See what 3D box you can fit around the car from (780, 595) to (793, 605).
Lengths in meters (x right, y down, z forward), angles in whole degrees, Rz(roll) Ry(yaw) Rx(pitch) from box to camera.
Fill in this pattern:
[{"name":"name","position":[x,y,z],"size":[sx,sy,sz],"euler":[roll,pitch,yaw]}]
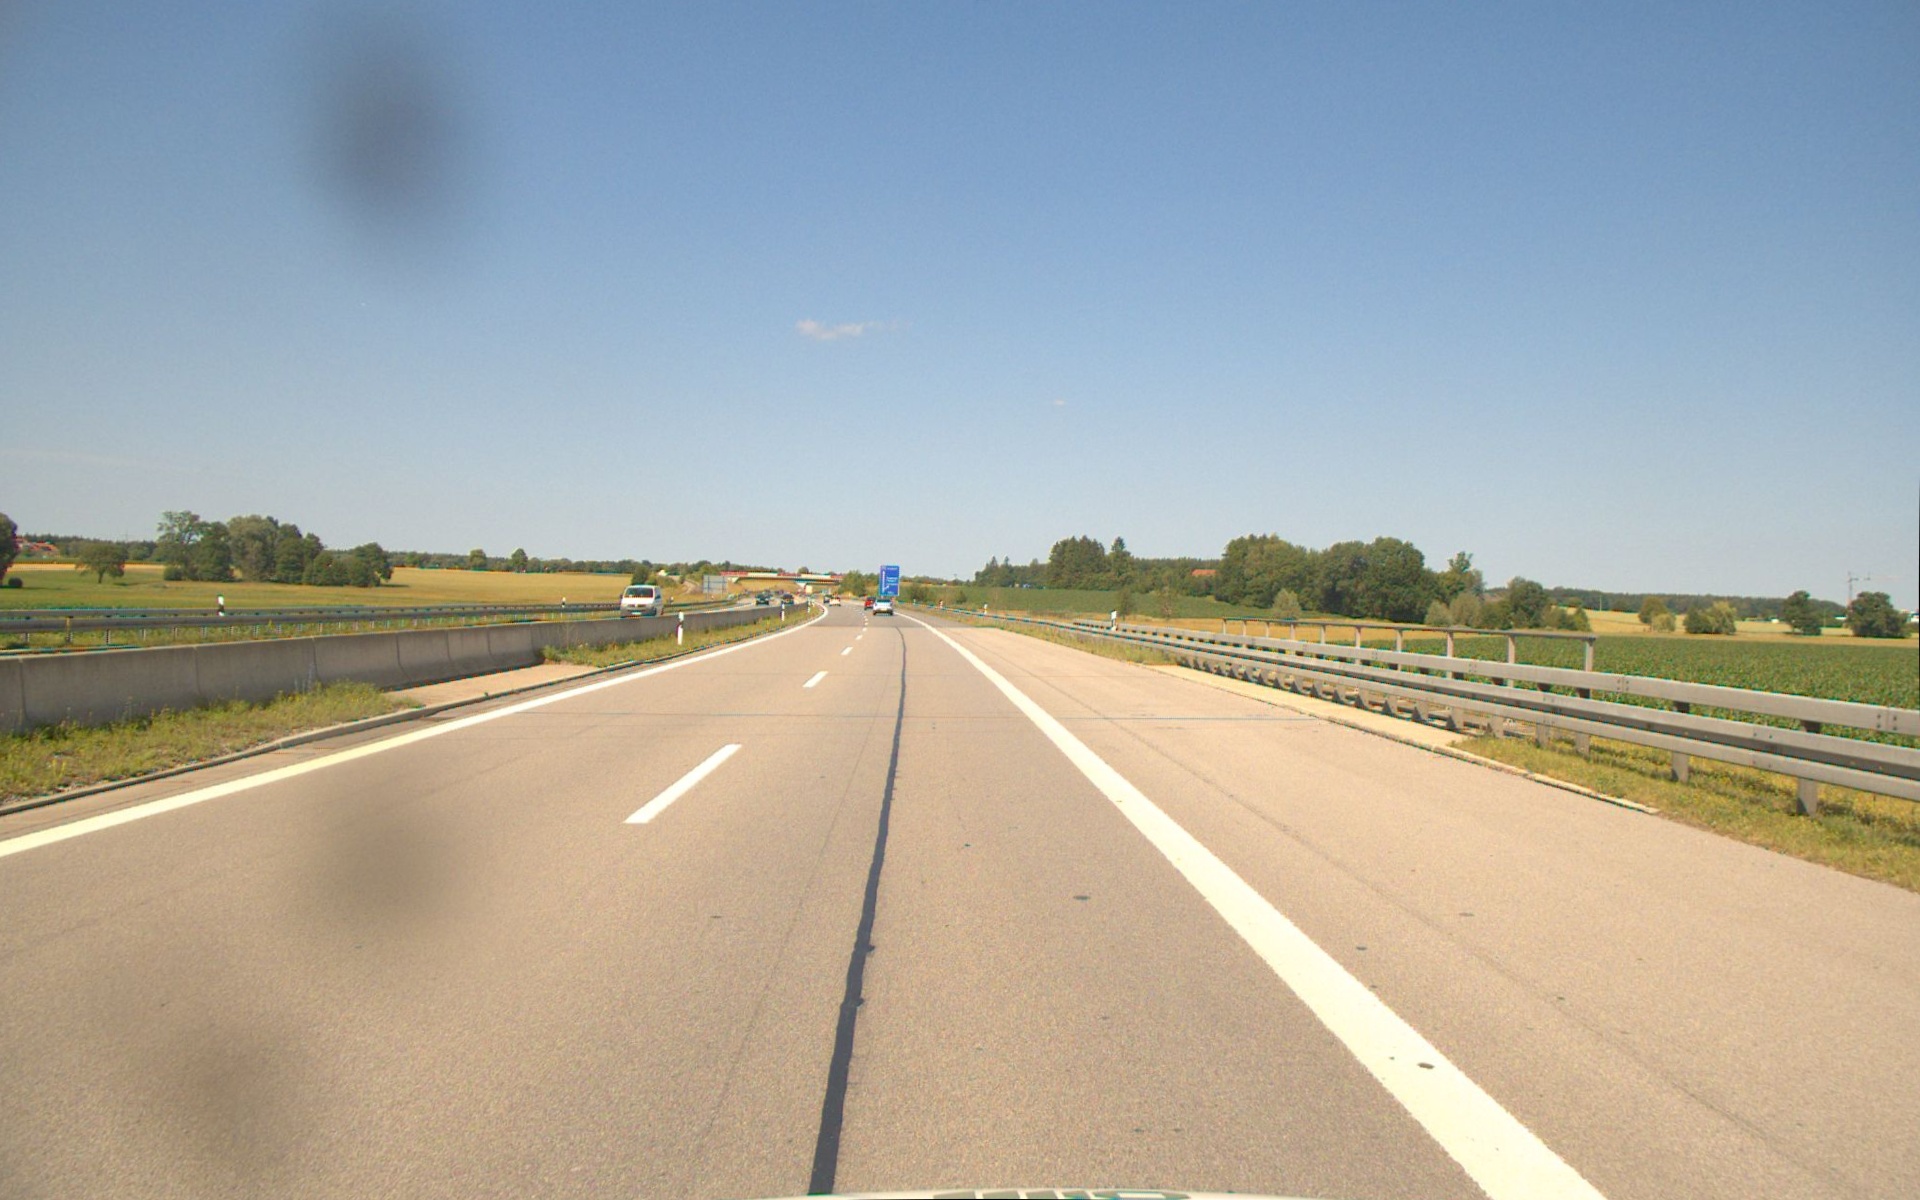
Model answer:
[{"name":"car","position":[-25.574,0.044,243.694],"size":[1.788,1.388,5.190],"euler":[0,0,-7]}]

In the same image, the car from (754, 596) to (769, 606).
[{"name":"car","position":[-28.082,0.099,233.857],"size":[1.789,1.388,4.653],"euler":[0,0,-9]}]

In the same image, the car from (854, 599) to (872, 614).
[{"name":"car","position":[-11.915,0.790,202.313],"size":[1.955,1.761,4.863],"euler":[1,0,-6]}]

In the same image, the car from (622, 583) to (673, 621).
[{"name":"car","position":[-17.250,0.134,91.466],"size":[1.953,2.049,5.611],"euler":[1,-1,-2]}]

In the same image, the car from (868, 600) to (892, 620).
[{"name":"car","position":[-7.385,0.906,152.076],"size":[1.955,1.761,4.864],"euler":[1,0,-5]}]

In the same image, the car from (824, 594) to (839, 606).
[{"name":"car","position":[-19.414,0.060,250.524],"size":[1.956,1.761,4.860],"euler":[1,0,-8]}]
